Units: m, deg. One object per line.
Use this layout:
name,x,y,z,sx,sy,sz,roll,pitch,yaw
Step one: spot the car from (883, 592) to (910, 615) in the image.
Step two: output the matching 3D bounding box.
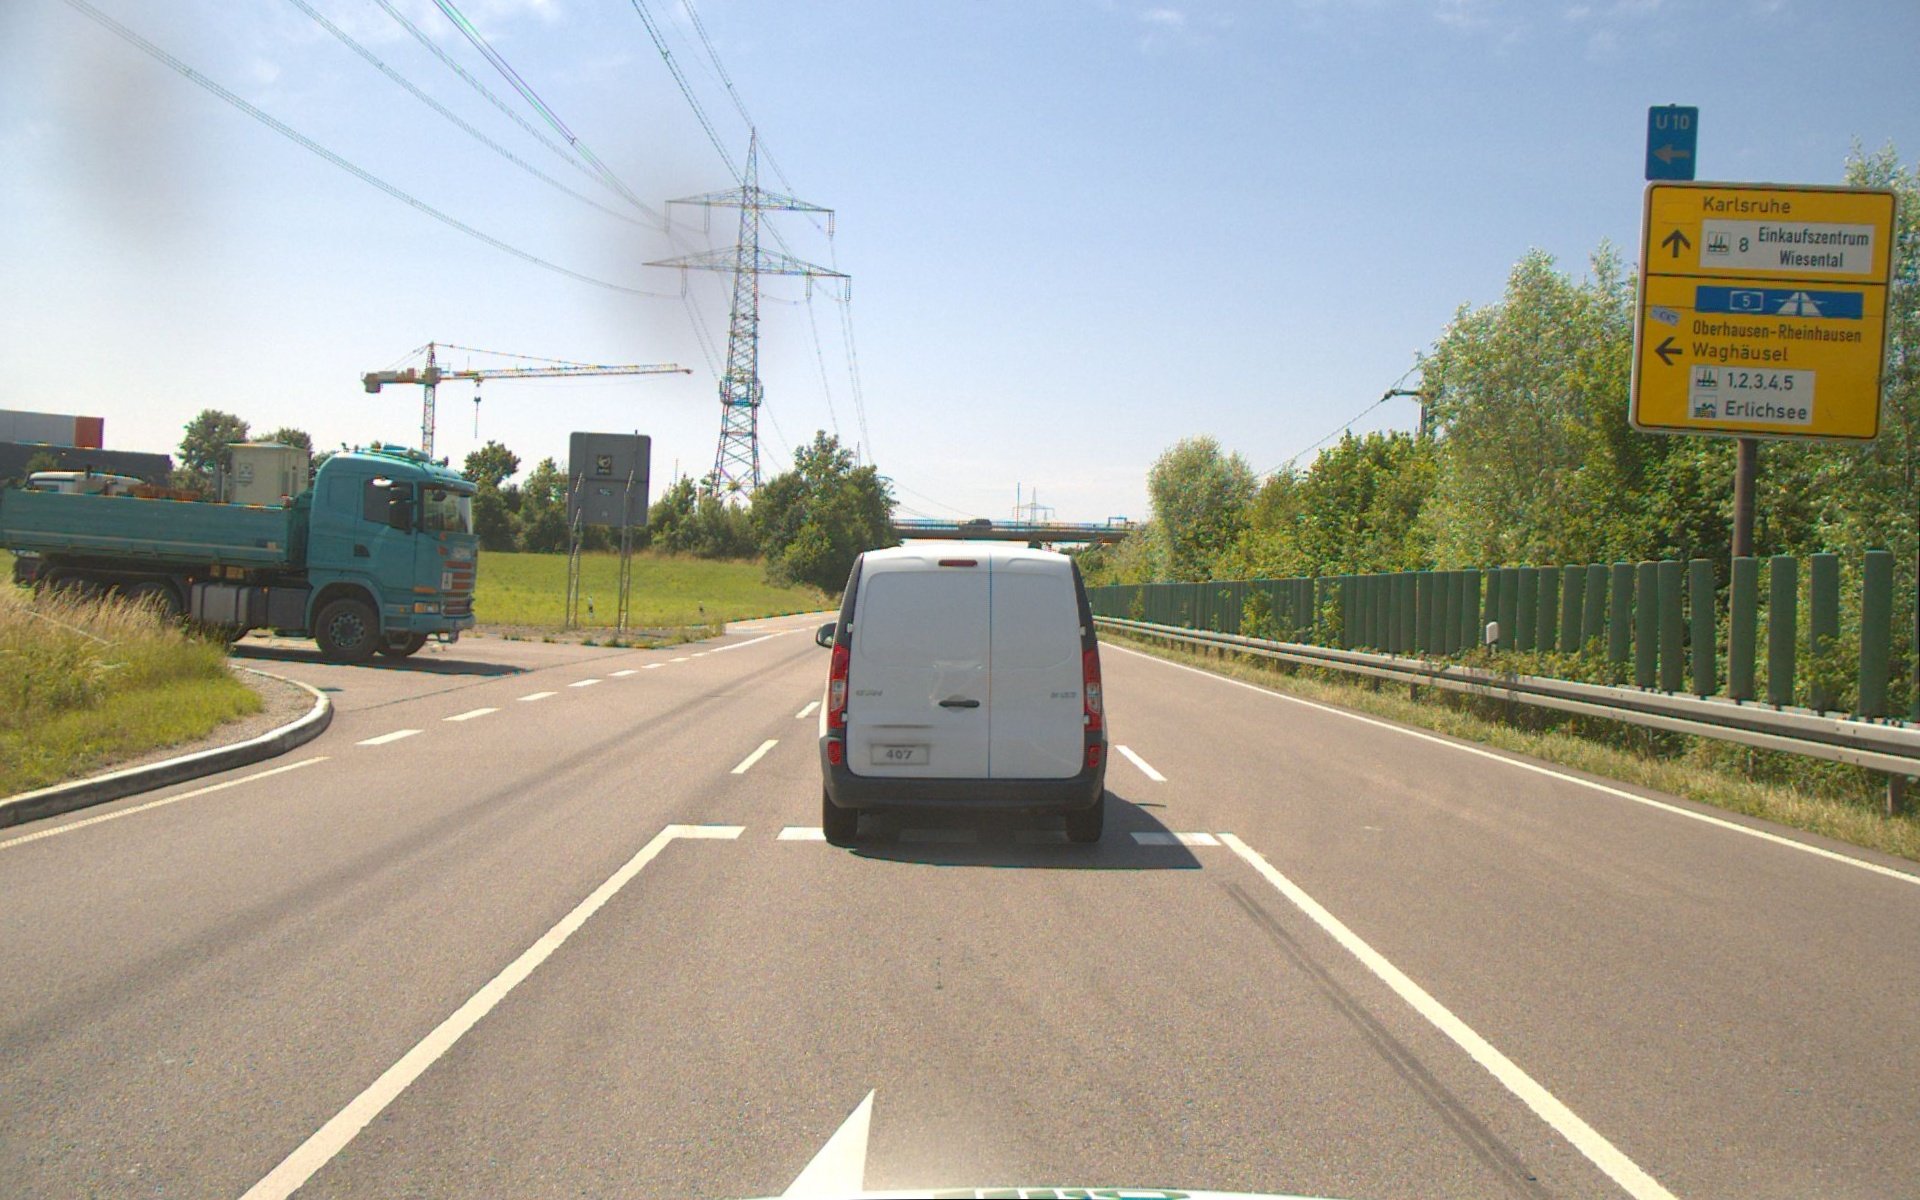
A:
car,-4.379,0.219,115.287,1.746,1.489,3.999,2,0,-1

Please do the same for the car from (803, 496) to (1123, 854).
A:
car,-0.012,0.417,11.369,1.790,2.005,3.999,1,0,-1

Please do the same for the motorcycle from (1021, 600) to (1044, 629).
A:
motorcycle,3.076,0.626,70.222,0.774,1.178,1.901,2,0,-2

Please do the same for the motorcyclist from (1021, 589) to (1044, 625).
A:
motorcyclist,3.070,0.290,70.258,0.871,1.502,1.002,1,0,-1

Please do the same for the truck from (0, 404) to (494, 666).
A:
truck,-12.273,-1.086,28.159,7.742,3.799,2.499,4,0,2

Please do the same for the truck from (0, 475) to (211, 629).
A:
truck,-22.794,-1.194,38.707,9.463,3.345,2.832,2,1,7
